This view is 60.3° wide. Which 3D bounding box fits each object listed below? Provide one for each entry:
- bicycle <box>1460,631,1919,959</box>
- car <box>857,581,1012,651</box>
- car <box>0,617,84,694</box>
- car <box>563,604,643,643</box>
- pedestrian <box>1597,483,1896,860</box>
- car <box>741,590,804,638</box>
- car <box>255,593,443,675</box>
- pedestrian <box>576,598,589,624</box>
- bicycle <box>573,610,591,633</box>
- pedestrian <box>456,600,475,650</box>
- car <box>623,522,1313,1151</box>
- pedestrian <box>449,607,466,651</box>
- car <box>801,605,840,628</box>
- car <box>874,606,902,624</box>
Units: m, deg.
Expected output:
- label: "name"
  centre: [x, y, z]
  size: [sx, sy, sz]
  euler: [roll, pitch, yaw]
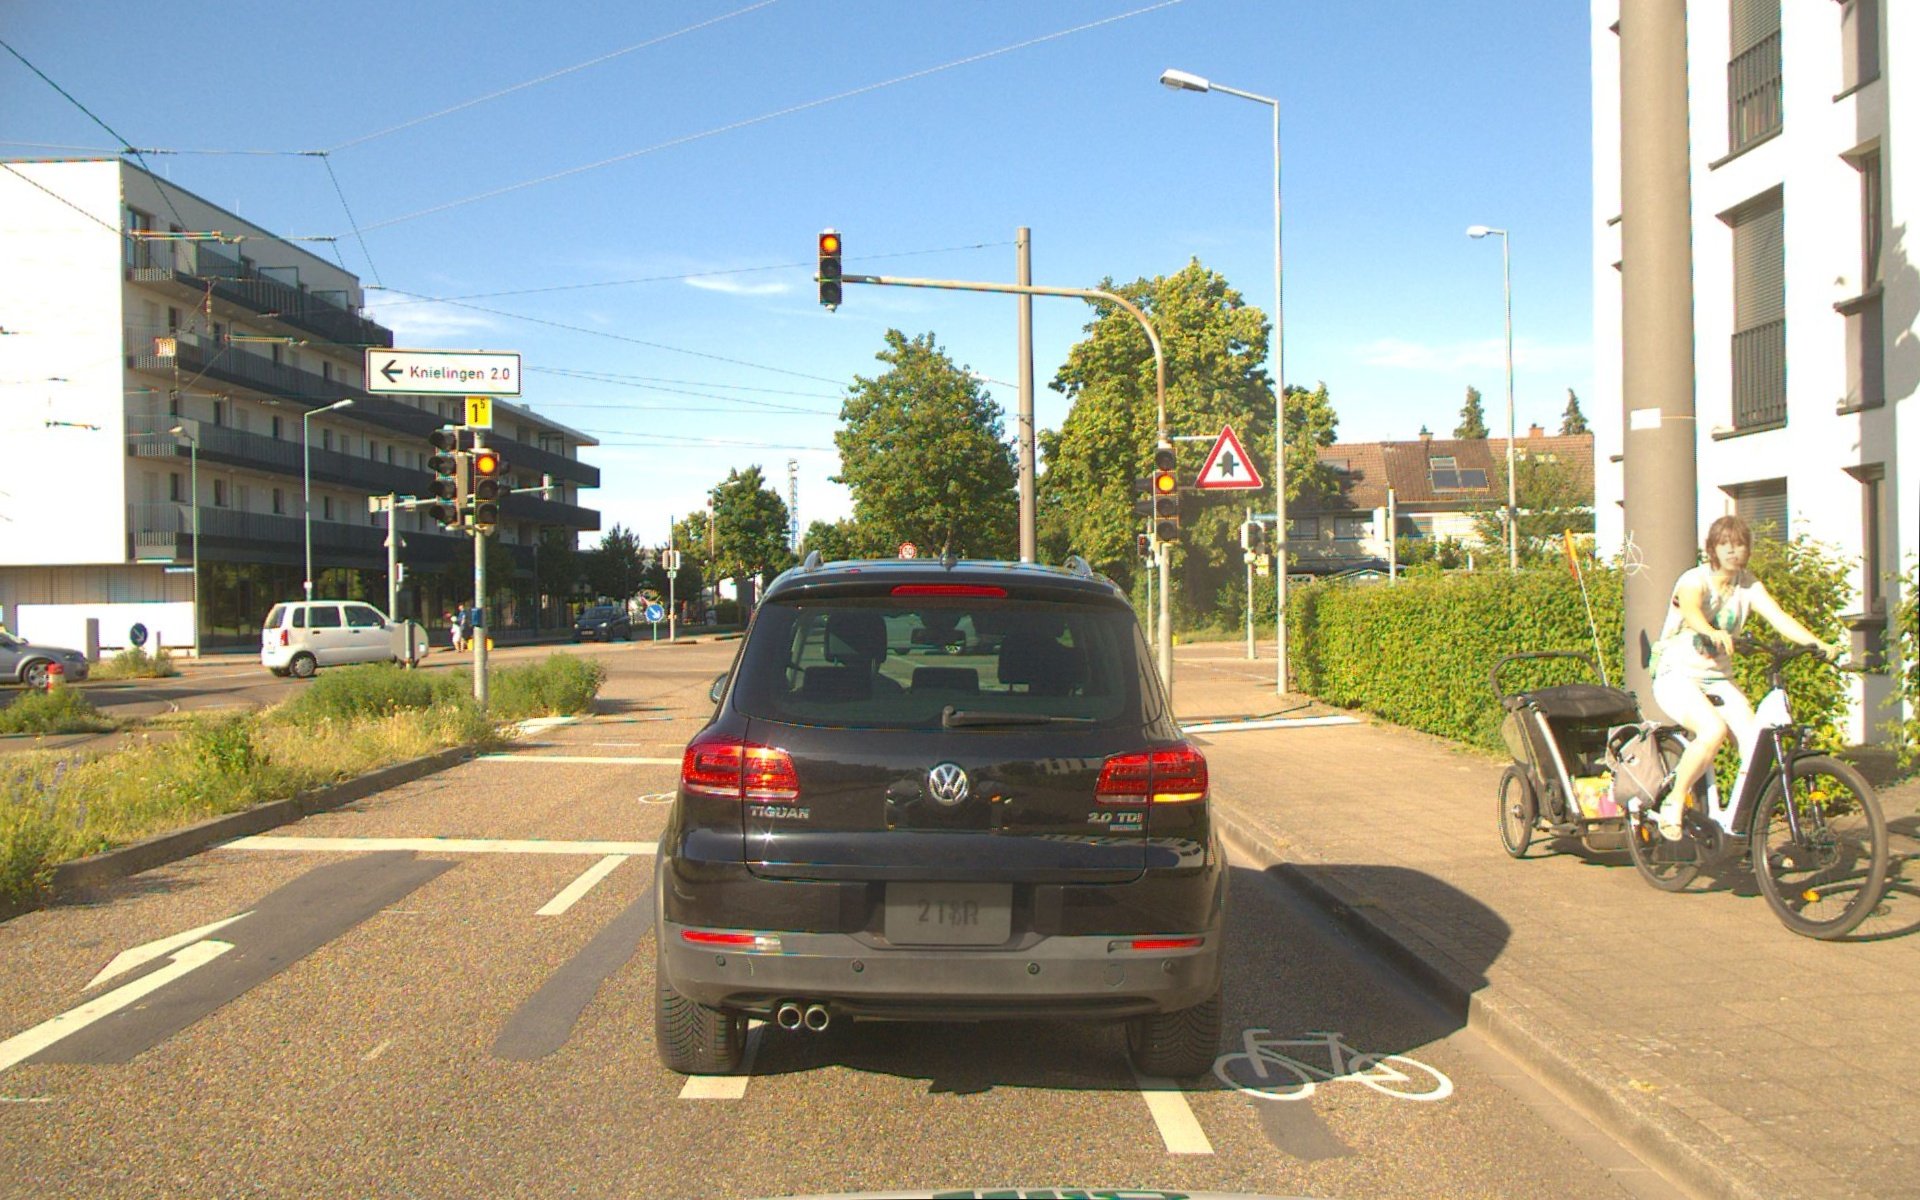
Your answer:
- label: "bicycle"
  centre: [3.572, 0.779, 7.975]
  size: [0.912, 1.194, 3.118]
  euler: [-1, 0, -10]
- label: "car"
  centre: [-0.717, 0.430, 46.627]
  size: [3.910, 1.869, 1.997]
  euler: [1, 0, 28]
- label: "car"
  centre: [-20.207, 1.155, 33.788]
  size: [4.050, 1.511, 1.852]
  euler: [-1, 0, -28]
- label: "car"
  centre: [-15.331, 0.990, 71.248]
  size: [1.951, 1.601, 4.343]
  euler: [1, 0, 9]
- label: "pedestrian"
  centre: [3.613, 0.306, 7.664]
  size: [0.894, 1.622, 0.852]
  euler: [-1, 0, -10]
- label: "car"
  centre: [-6.918, 0.510, 61.258]
  size: [1.953, 1.713, 3.999]
  euler: [1, 0, -2]
- label: "car"
  centre: [-13.822, 0.727, 37.469]
  size: [3.648, 1.750, 1.845]
  euler: [-1, 0, -37]
- label: "pedestrian"
  centre: [-22.835, 0.680, 100.104]
  size: [0.629, 1.535, 0.596]
  euler: [1, -1, -1]
- label: "bicycle"
  centre: [-22.858, 1.316, 100.058]
  size: [0.617, 1.355, 1.912]
  euler: [1, 0, 0]
- label: "pedestrian"
  centre: [-17.654, 0.893, 59.037]
  size: [0.532, 1.774, 0.517]
  euler: [1, -1, -6]
- label: "car"
  centre: [-0.001, 0.648, 6.452]
  size: [1.831, 1.666, 3.999]
  euler: [1, 0, -1]
- label: "pedestrian"
  centre: [-17.709, 1.011, 58.287]
  size: [0.433, 1.529, 0.517]
  euler: [1, -1, -6]
- label: "car"
  centre: [-9.986, 1.181, 118.747]
  size: [1.951, 1.601, 4.342]
  euler: [1, 0, 7]
- label: "car"
  centre: [-6.774, 1.389, 155.650]
  size: [1.951, 1.601, 4.342]
  euler: [1, 0, 7]
